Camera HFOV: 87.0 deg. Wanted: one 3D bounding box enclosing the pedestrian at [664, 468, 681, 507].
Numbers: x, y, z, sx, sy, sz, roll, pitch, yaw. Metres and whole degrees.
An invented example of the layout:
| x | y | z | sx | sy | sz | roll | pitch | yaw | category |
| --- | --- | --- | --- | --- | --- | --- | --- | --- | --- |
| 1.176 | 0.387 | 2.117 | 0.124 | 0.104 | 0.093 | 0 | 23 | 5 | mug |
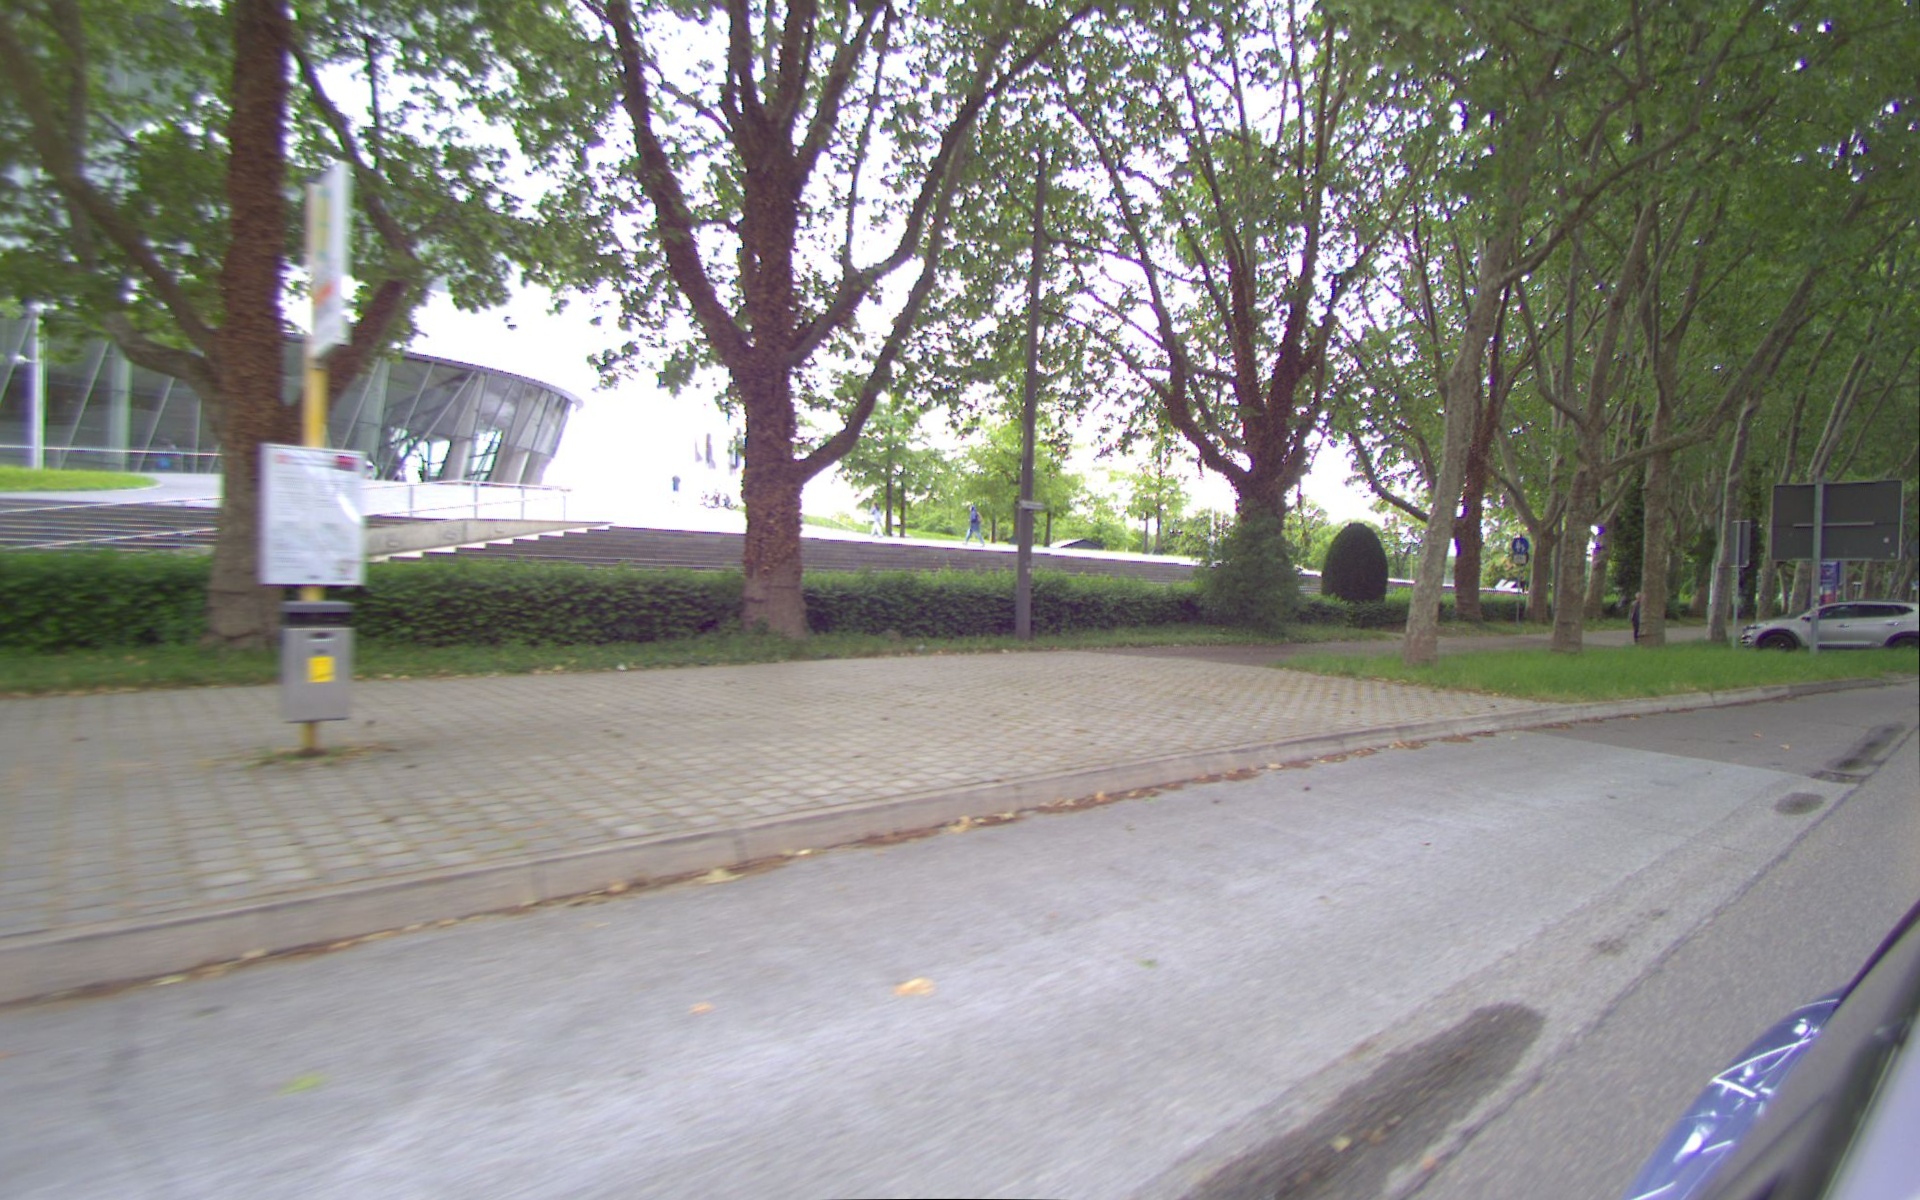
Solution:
| x | y | z | sx | sy | sz | roll | pitch | yaw | category |
| --- | --- | --- | --- | --- | --- | --- | --- | --- | --- |
| -14.122 | -5.518 | 49.652 | 0.667 | 1.787 | 0.838 | 0 | 1 | -26 | pedestrian |

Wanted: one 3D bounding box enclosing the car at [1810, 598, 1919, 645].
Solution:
| x | y | z | sx | sy | sz | roll | pitch | yaw | category |
| --- | --- | --- | --- | --- | --- | --- | --- | --- | --- |
| 31.316 | 0.712 | 33.789 | 1.917 | 1.474 | 4.350 | 1 | 0 | -43 | car |

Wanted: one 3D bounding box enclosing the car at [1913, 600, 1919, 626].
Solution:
| x | y | z | sx | sy | sz | roll | pitch | yaw | category |
| --- | --- | --- | --- | --- | --- | --- | --- | --- | --- |
| 54.953 | 0.735 | 54.952 | 1.898 | 1.446 | 4.502 | 0 | 0 | -41 | car |

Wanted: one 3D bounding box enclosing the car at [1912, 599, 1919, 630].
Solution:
| x | y | z | sx | sy | sz | roll | pitch | yaw | category |
| --- | --- | --- | --- | --- | --- | --- | --- | --- | --- |
| 49.233 | 0.769 | 49.025 | 1.891 | 1.521 | 4.356 | 1 | 0 | -39 | car |

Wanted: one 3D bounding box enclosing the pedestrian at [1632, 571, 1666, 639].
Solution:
| x | y | z | sx | sy | sz | roll | pitch | yaw | category |
| --- | --- | --- | --- | --- | --- | --- | --- | --- | --- |
| 20.800 | 0.141 | 30.573 | 0.781 | 2.039 | 0.592 | 1 | 1 | 32 | pedestrian |

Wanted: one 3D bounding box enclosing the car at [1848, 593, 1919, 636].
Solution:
| x | y | z | sx | sy | sz | roll | pitch | yaw | category |
| --- | --- | --- | --- | --- | --- | --- | --- | --- | --- |
| 40.208 | 0.613 | 42.413 | 1.806 | 1.768 | 4.350 | 1 | 0 | -43 | car |

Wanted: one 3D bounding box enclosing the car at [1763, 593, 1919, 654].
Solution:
| x | y | z | sx | sy | sz | roll | pitch | yaw | category |
| --- | --- | --- | --- | --- | --- | --- | --- | --- | --- |
| 25.922 | 0.647 | 28.955 | 1.892 | 1.625 | 4.353 | 1 | 0 | -41 | car |

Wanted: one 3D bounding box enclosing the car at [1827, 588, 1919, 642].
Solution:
| x | y | z | sx | sy | sz | roll | pitch | yaw | category |
| --- | --- | --- | --- | --- | --- | --- | --- | --- | --- |
| 33.168 | 0.539 | 35.205 | 1.893 | 1.782 | 4.351 | 0 | 2 | -43 | car |

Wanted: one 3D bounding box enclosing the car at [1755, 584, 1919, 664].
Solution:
| x | y | z | sx | sy | sz | roll | pitch | yaw | category |
| --- | --- | --- | --- | --- | --- | --- | --- | --- | --- |
| 24.045 | 0.603 | 27.140 | 1.965 | 2.039 | 3.993 | 1 | 0 | -41 | car |

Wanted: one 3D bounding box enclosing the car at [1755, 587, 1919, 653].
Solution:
| x | y | z | sx | sy | sz | roll | pitch | yaw | category |
| --- | --- | --- | --- | --- | --- | --- | --- | --- | --- |
| 24.180 | 0.515 | 27.040 | 1.892 | 1.654 | 4.353 | 1 | 0 | -41 | car |

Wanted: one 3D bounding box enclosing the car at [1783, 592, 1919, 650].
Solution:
| x | y | z | sx | sy | sz | roll | pitch | yaw | category |
| --- | --- | --- | --- | --- | --- | --- | --- | --- | --- |
| 27.751 | 0.619 | 30.495 | 1.892 | 1.654 | 4.353 | 1 | 0 | -41 | car |

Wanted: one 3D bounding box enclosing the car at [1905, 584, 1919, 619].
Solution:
| x | y | z | sx | sy | sz | roll | pitch | yaw | category |
| --- | --- | --- | --- | --- | --- | --- | --- | --- | --- |
| 51.392 | 0.125 | 51.560 | 2.010 | 1.819 | 4.507 | 1 | 0 | -38 | car |
